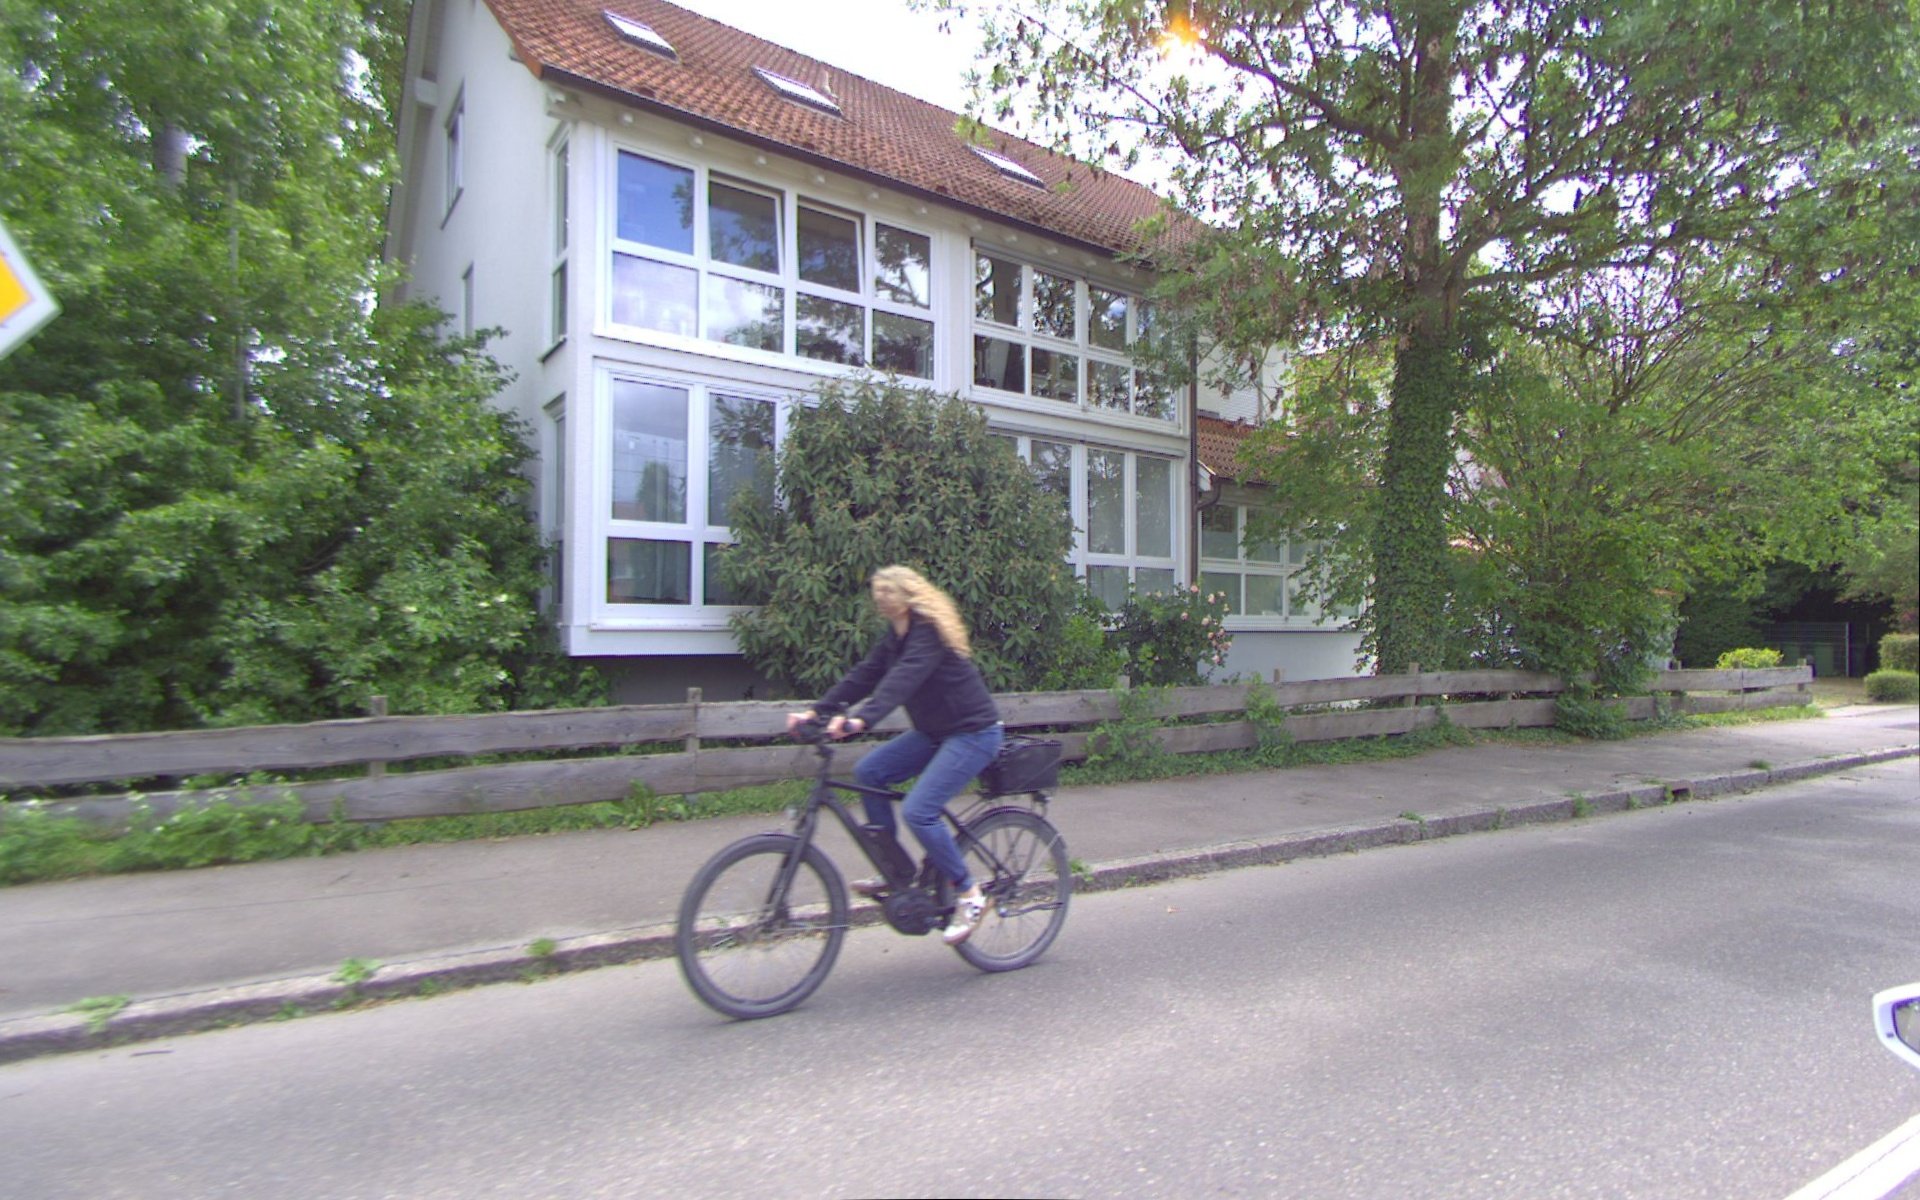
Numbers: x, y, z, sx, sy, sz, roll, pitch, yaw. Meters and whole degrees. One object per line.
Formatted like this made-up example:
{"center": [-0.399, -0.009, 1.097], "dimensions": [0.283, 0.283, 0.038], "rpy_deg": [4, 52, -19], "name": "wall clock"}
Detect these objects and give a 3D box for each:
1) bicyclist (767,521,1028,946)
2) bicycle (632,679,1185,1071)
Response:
{"center": [-0.279, 0.505, 4.267], "dimensions": [0.859, 1.569, 0.775], "rpy_deg": [1, -1, -30], "name": "bicyclist"}
{"center": [-0.158, 0.999, 4.313], "dimensions": [2.281, 1.242, 0.752], "rpy_deg": [1, -3, -30], "name": "bicycle"}
